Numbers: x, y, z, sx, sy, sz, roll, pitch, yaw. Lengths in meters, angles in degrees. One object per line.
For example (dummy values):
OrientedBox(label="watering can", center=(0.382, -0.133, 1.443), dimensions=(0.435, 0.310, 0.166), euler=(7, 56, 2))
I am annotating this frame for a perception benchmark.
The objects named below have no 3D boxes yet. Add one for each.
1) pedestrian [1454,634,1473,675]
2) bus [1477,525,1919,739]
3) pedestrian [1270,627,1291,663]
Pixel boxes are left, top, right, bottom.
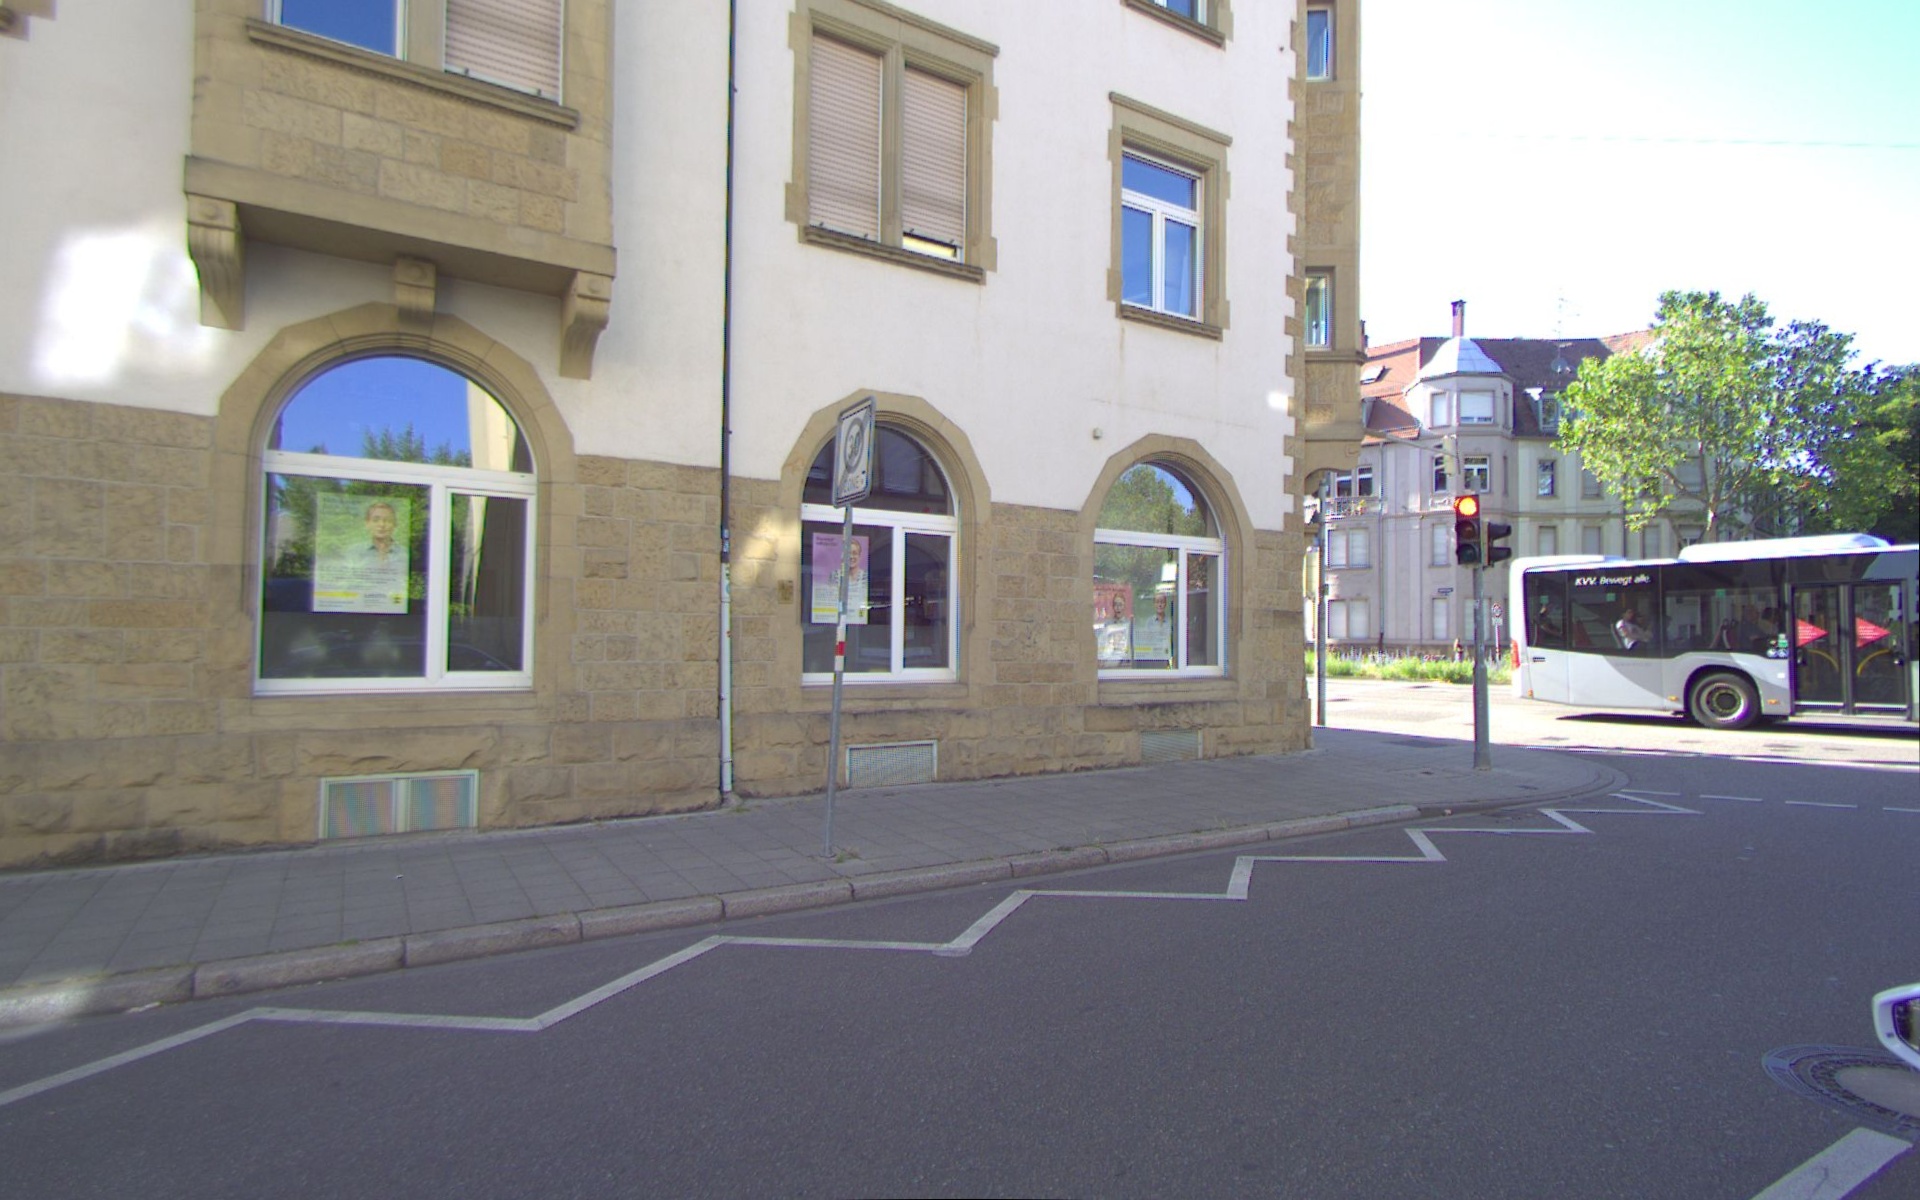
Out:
OrientedBox(label="pedestrian", center=(24.079, 2.587, 48.038), dimensions=(0.725, 1.876, 0.849), euler=(2, 0, 28))
OrientedBox(label="bus", center=(13.903, 0.538, 17.135), dimensions=(2.721, 3.137, 8.759), euler=(2, -2, -37))
OrientedBox(label="pedestrian", center=(17.238, 2.409, 54.018), dimensions=(0.728, 1.876, 0.846), euler=(2, 0, 42))
